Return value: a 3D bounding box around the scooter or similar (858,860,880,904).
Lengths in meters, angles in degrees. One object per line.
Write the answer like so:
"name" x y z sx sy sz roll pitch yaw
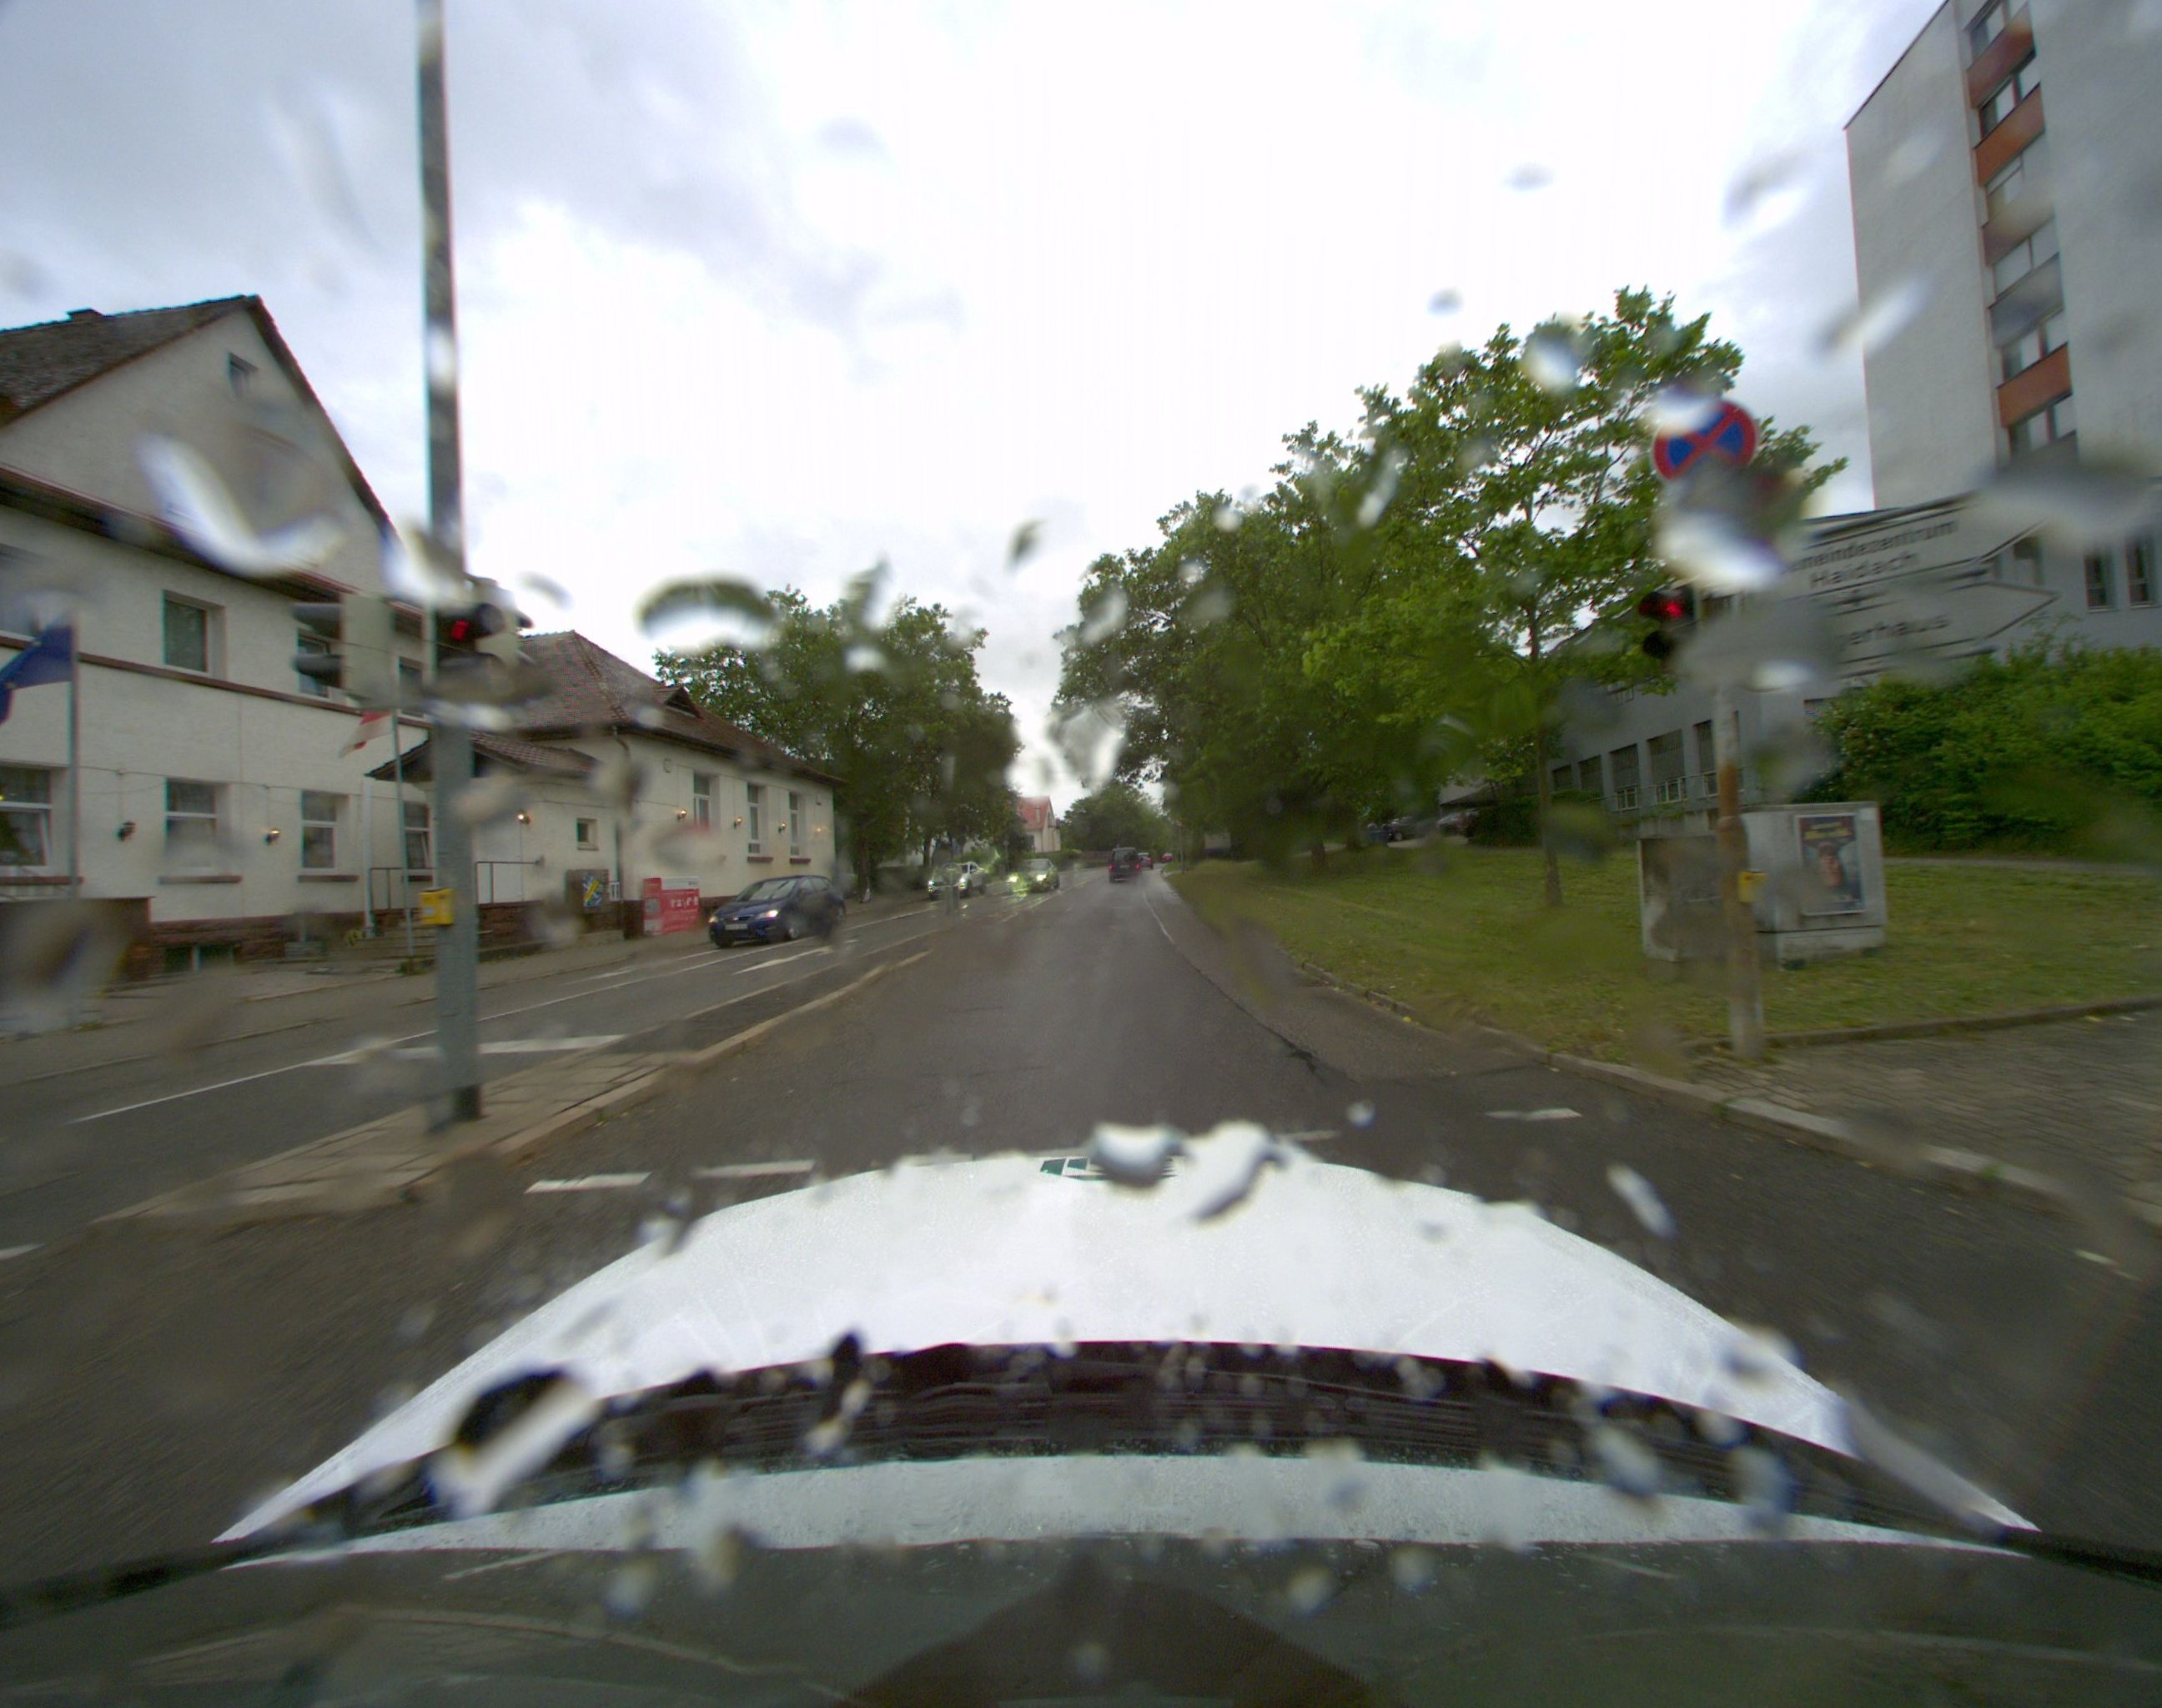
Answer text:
"scooter or similar" -8.917 1.159 34.294 0.399 1.775 1.513 -2 -1 2

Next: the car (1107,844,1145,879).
"car" 2.553 0.387 45.386 1.984 1.794 4.005 -1 0 4

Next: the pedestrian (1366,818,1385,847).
"pedestrian" 18.613 -1.369 51.501 0.662 1.750 0.846 -3 0 -13

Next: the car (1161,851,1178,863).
"car" 12.904 0.461 118.563 1.980 1.750 4.013 -1 -1 12

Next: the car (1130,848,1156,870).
"car" 5.618 0.405 73.214 1.939 1.750 4.009 -3 0 8

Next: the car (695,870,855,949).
"car" -6.990 1.215 19.115 1.758 1.420 4.112 -4 0 6

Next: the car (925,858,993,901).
"car" -5.422 1.092 36.682 1.983 1.684 4.007 -4 0 6

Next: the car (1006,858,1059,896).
"car" -2.114 0.986 36.472 1.987 1.429 4.388 -4 0 0

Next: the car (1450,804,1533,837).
"car" 24.308 -1.970 48.352 3.963 1.662 1.965 -3 0 9

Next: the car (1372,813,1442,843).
"car" 22.644 -1.777 56.650 3.977 1.750 1.998 -3 0 -3

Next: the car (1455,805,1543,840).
"car" 23.552 -1.740 46.005 3.961 1.640 2.007 -4 0 11

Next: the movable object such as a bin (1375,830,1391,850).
"movable object such as a bin" 16.945 -0.788 45.684 0.666 1.120 0.662 0 -1 0

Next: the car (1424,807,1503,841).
"car" 23.726 -1.840 50.654 3.961 1.750 2.007 -4 0 11

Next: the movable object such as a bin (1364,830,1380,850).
"movable object such as a bin" 16.601 -0.779 46.405 0.666 1.120 0.662 0 -1 0
